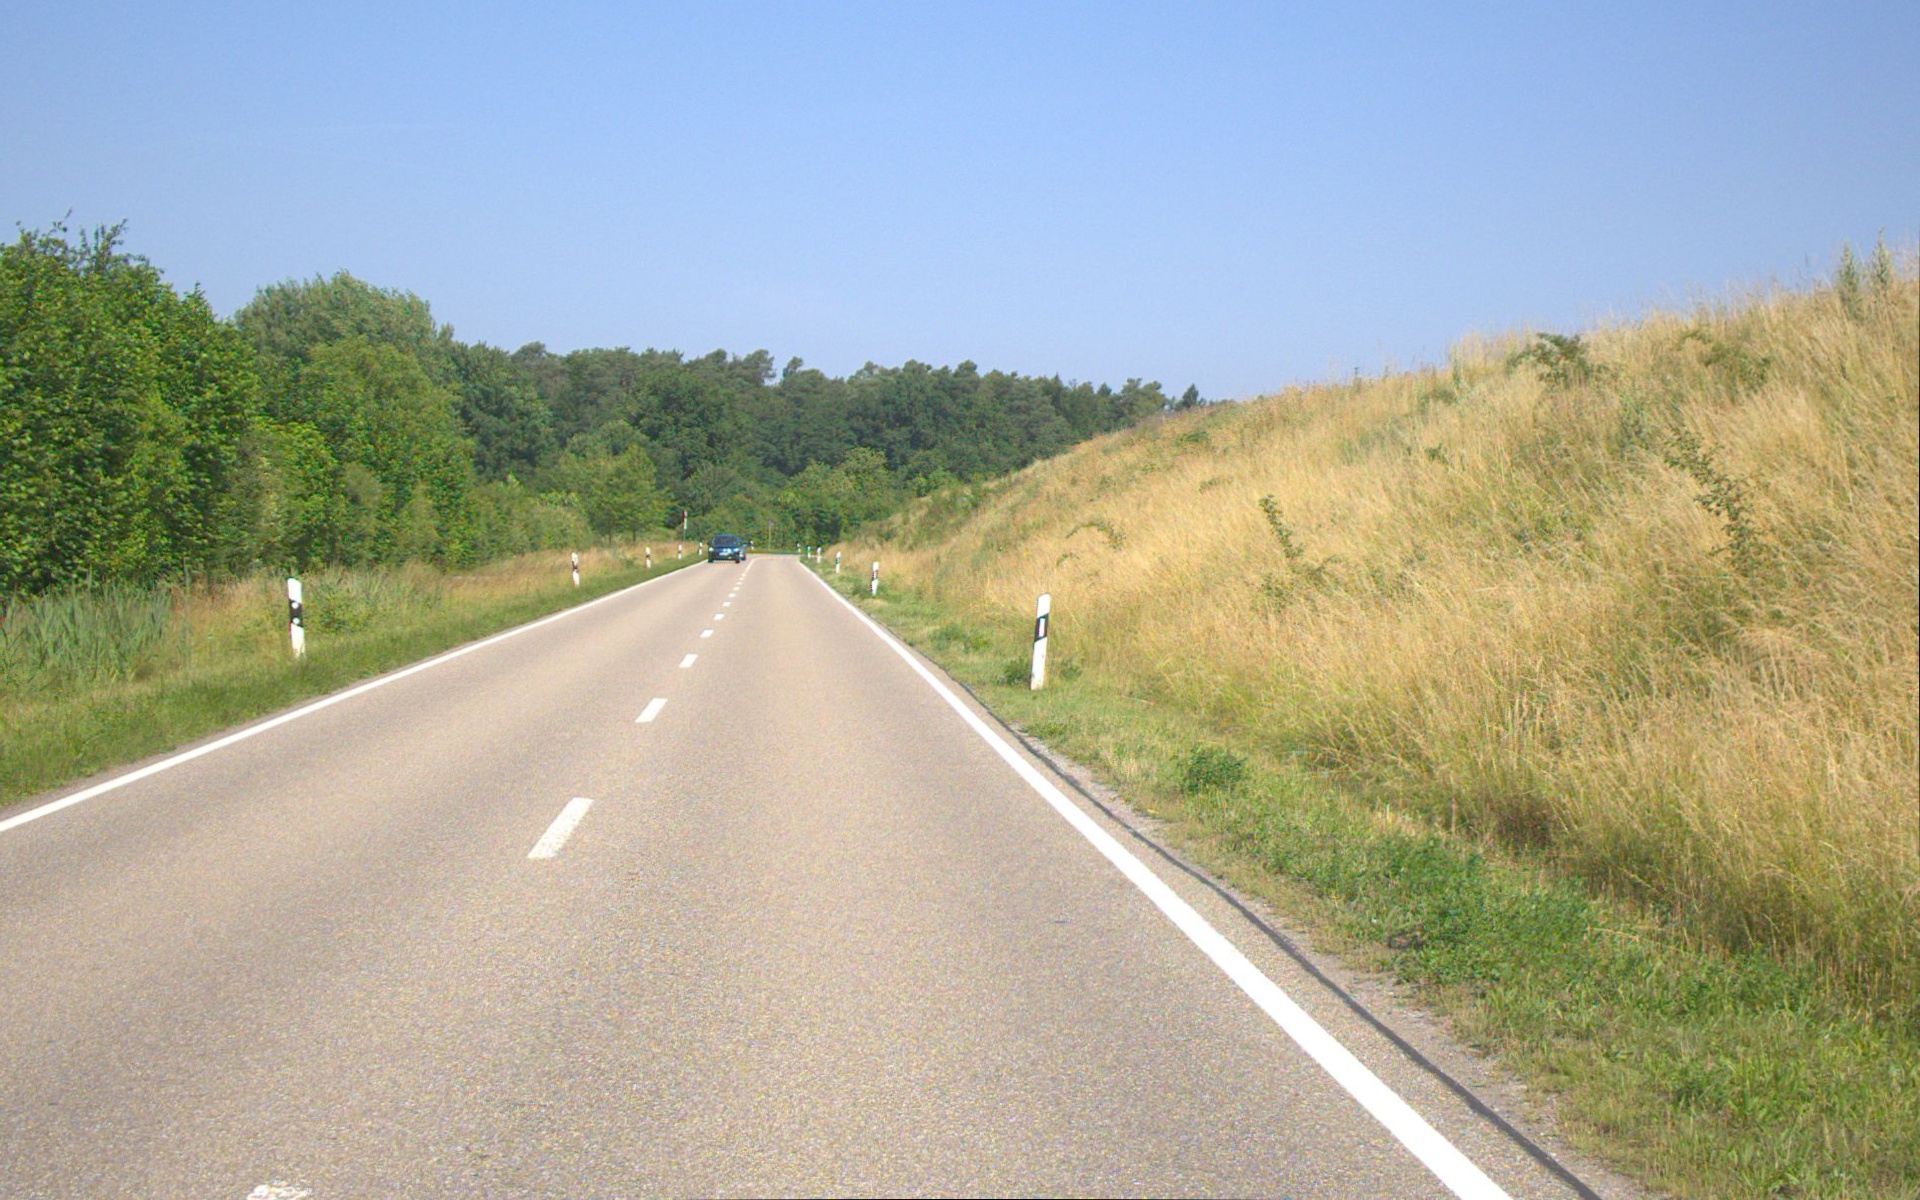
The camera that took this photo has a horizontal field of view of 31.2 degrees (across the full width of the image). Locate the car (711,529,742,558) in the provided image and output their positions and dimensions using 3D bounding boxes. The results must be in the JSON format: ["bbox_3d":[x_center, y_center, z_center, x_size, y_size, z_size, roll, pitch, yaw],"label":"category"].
[{"bbox_3d":[-13.486,-3.276,198.924,1.716,1.641,3.915,1,1,-4],"label":"car"}]

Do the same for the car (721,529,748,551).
[{"bbox_3d":[-14.784,-3.921,225.589,1.722,1.349,4.001,2,1,-3],"label":"car"}]
